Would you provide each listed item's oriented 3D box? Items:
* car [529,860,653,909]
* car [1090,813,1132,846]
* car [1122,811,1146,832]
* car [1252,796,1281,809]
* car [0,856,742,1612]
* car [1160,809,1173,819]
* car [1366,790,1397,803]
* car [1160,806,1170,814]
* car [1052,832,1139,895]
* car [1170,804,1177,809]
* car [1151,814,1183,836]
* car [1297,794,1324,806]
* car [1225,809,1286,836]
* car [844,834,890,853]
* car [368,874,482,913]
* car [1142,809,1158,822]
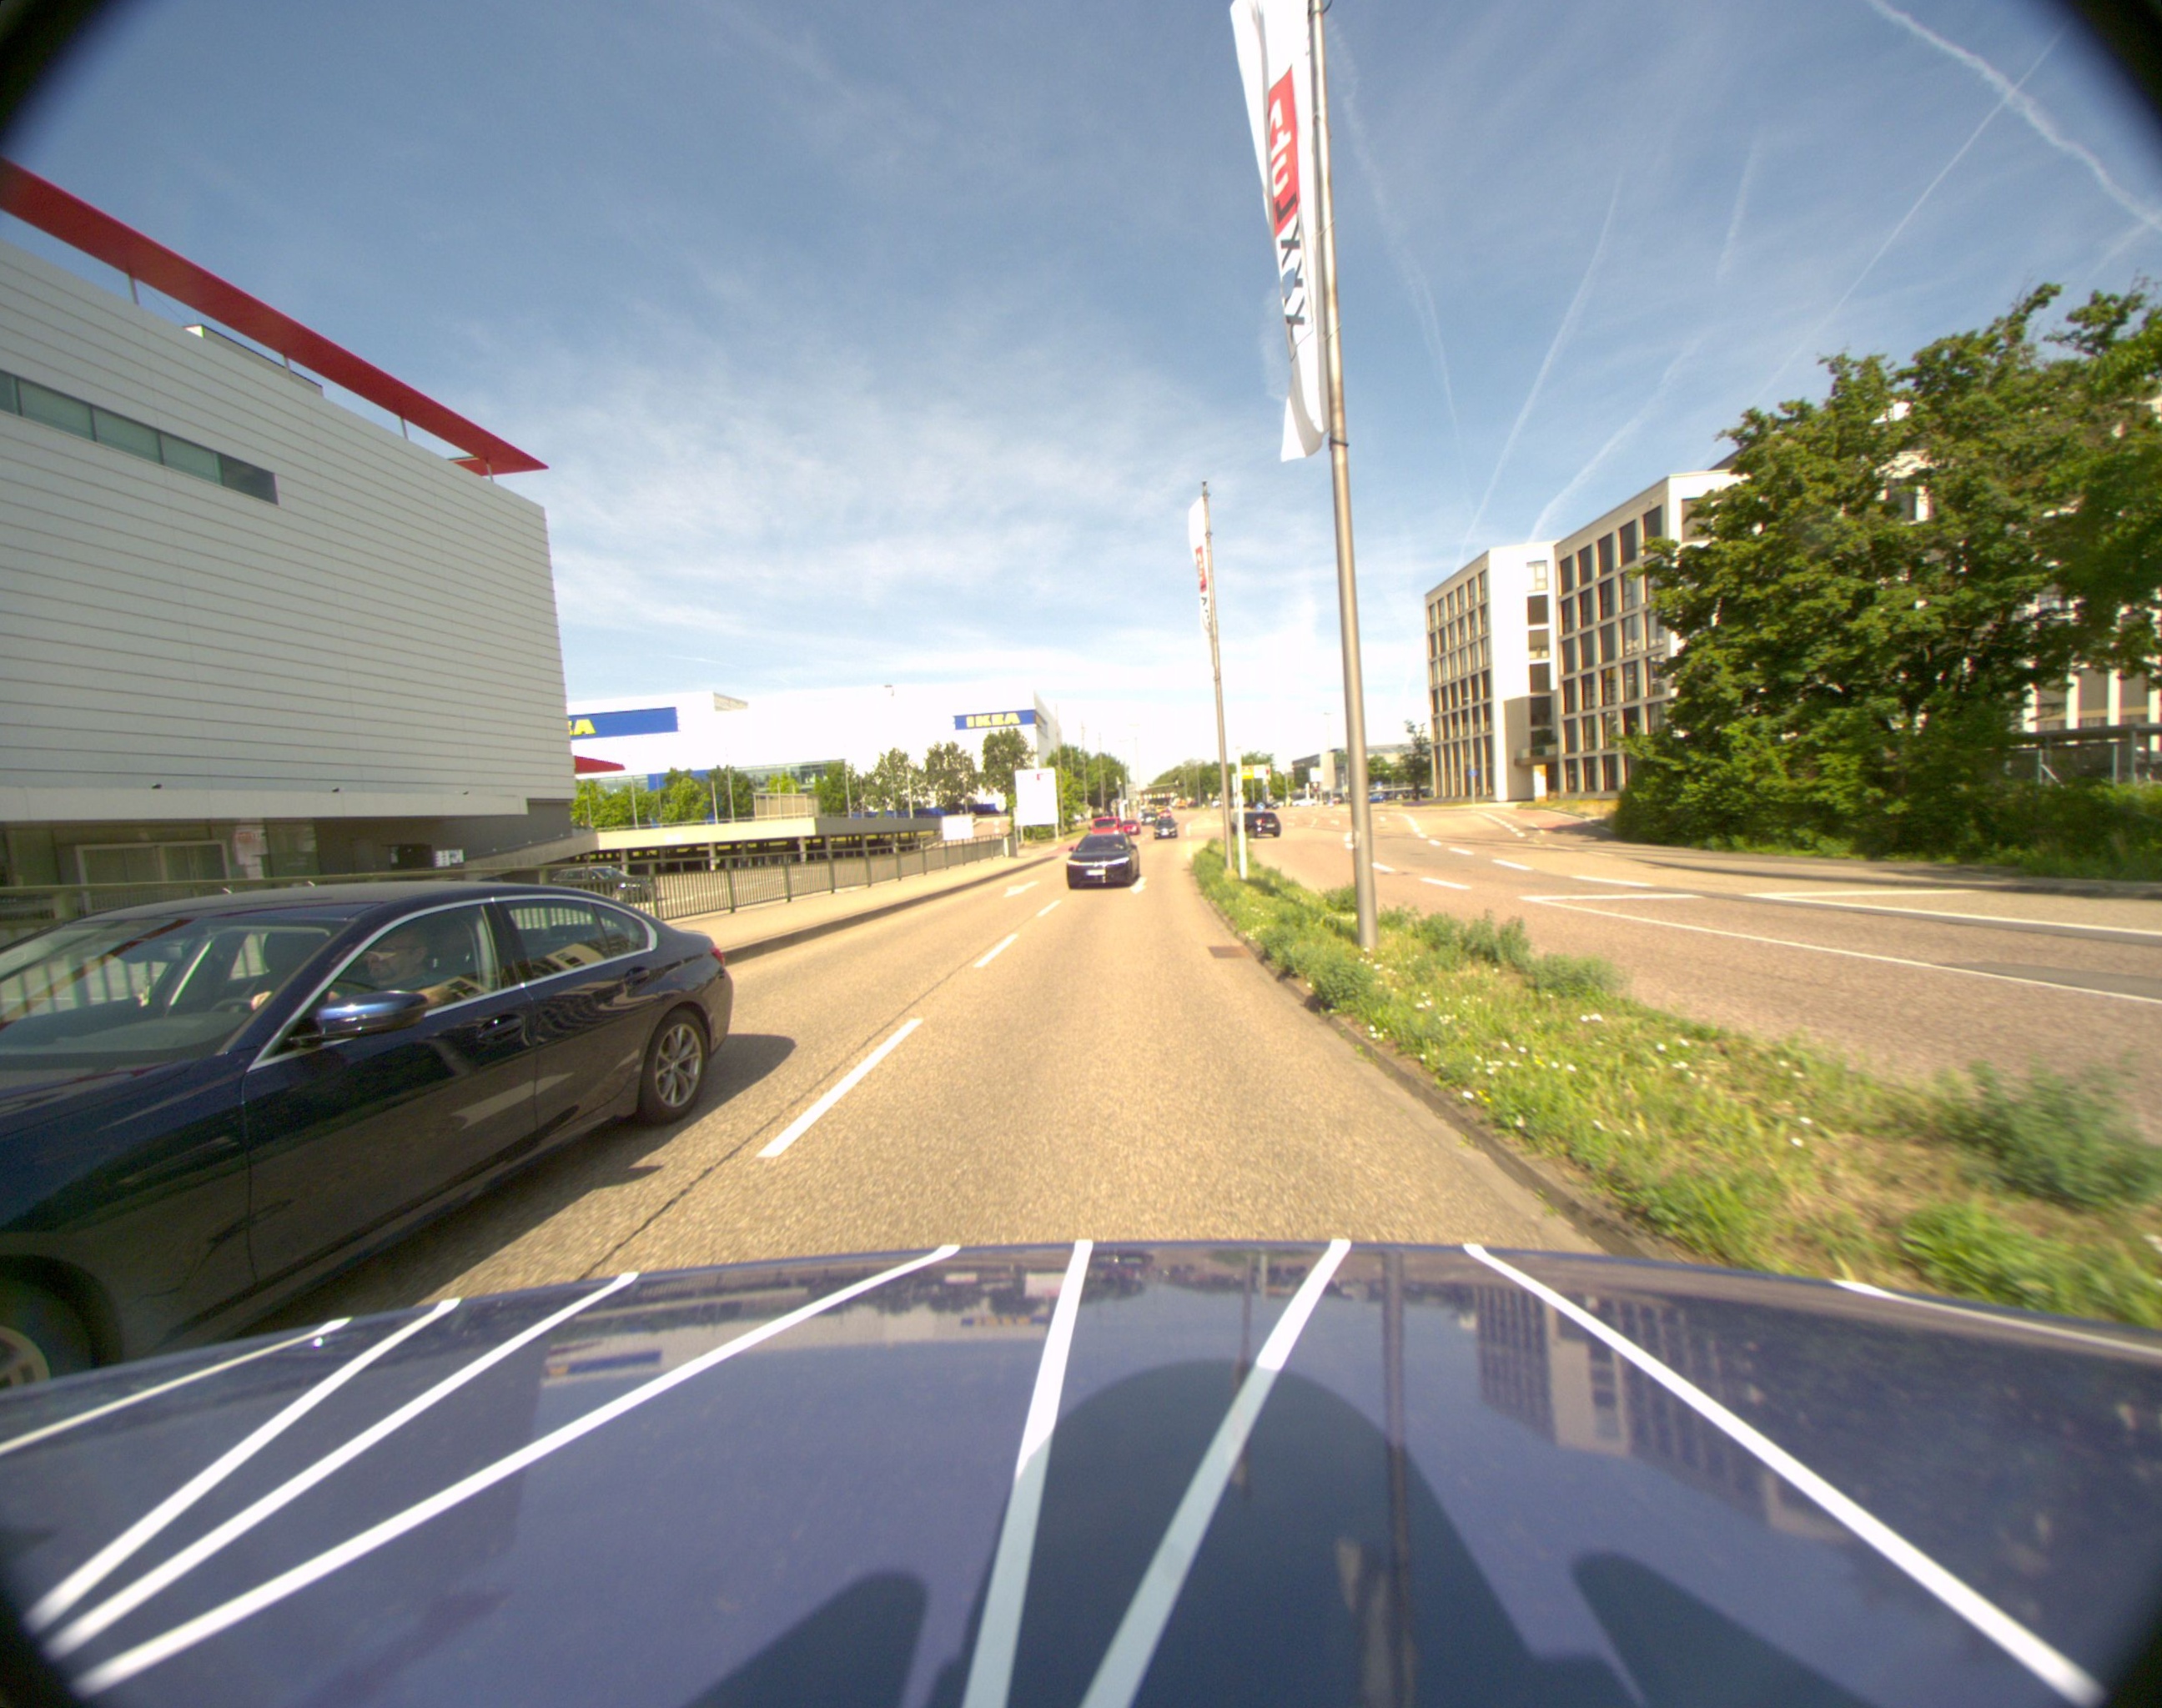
[{"bbox_3d":[-21.280,1.333,33.057,4.410,1.723,1.863,-3,4,15],"label":"car"},{"bbox_3d":[2.065,-1.676,50.884,1.986,1.897,4.145,-3,4,13],"label":"car"},{"bbox_3d":[4.819,-2.937,68.653,1.776,1.649,4.143,-4,3,8],"label":"car"},{"bbox_3d":[30.555,-8.451,125.081,4.385,1.838,1.814,-2,4,24],"label":"car"},{"bbox_3d":[-3.313,0.946,2.828,1.791,1.476,4.517,-4,4,3],"label":"car"},{"bbox_3d":[13.222,-6.238,117.545,1.825,1.467,3.999,-3,4,6],"label":"car"},{"bbox_3d":[49.108,-9.434,124.337,4.389,1.838,1.812,-3,4,10],"label":"car"},{"bbox_3d":[16.176,-8.510,146.645,1.825,1.467,3.999,-3,4,6],"label":"car"},{"bbox_3d":[0.526,0.188,21.745,1.860,1.520,4.145,-3,2,9],"label":"car"},{"bbox_3d":[29.013,-14.839,238.331,1.866,1.617,3.999,-3,4,7],"label":"car"},{"bbox_3d":[6.361,-2.153,55.669,1.848,1.411,4.001,-2,4,13],"label":"car"},{"bbox_3d":[39.361,-9.254,130.407,4.387,1.838,1.813,-2,4,19],"label":"car"},{"bbox_3d":[10.806,-1.940,47.318,1.863,1.521,4.136,-4,3,-17],"label":"car"},{"bbox_3d":[-23.144,-1.140,82.396,4.315,1.824,1.999,-3,2,-1],"label":"car"},{"bbox_3d":[-31.350,1.879,36.374,3.865,1.368,1.811,-5,2,5],"label":"car"},{"bbox_3d":[8.496,-4.738,93.538,1.825,1.467,3.999,-3,4,6],"label":"car"}]
